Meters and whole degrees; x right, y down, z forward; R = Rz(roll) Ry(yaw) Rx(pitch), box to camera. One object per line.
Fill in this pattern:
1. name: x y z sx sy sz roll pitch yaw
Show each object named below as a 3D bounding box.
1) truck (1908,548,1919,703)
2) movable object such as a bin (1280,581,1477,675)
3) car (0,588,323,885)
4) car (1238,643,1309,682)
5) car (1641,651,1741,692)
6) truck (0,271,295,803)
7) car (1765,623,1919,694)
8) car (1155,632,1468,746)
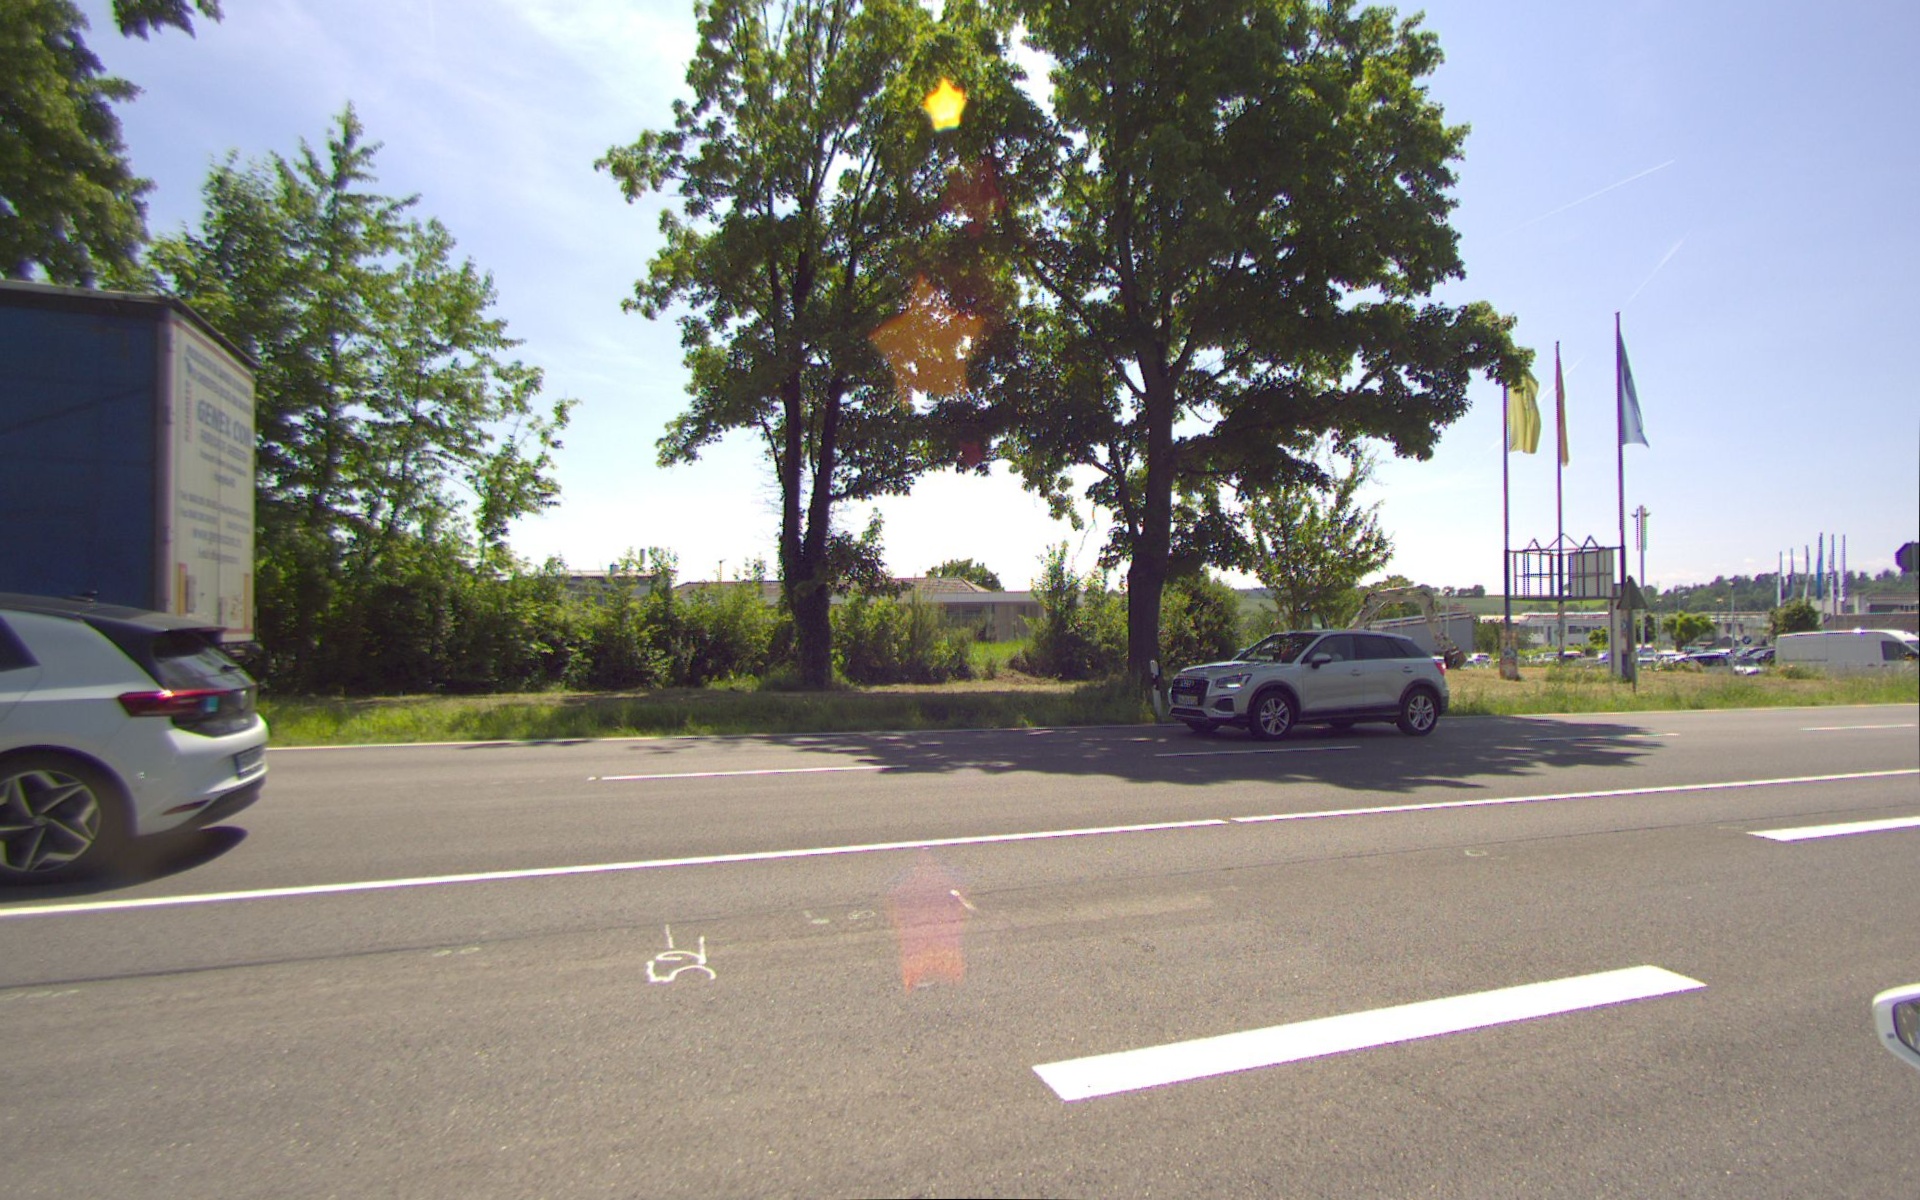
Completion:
1. truck: 26.816 0.685 23.006 11.311 3.395 2.842 2 -2 -21
2. movable object such as a bin: 15.771 1.042 38.297 6.659 3.342 3.053 0 -2 21
3. car: -6.186 0.729 5.658 4.128 1.542 1.788 1 -2 -24
4. car: 18.837 3.717 60.303 3.921 2.040 2.000 2 -1 20
5. car: 38.912 3.775 53.611 3.922 2.040 2.000 0 -3 22
6. truck: -14.538 -0.649 6.789 16.331 4.231 2.963 2 -2 -22
7. car: 35.147 2.289 38.717 2.166 2.519 5.974 1 -6 -26
8. car: 5.057 1.215 14.490 4.117 1.446 1.759 1 -2 -21
